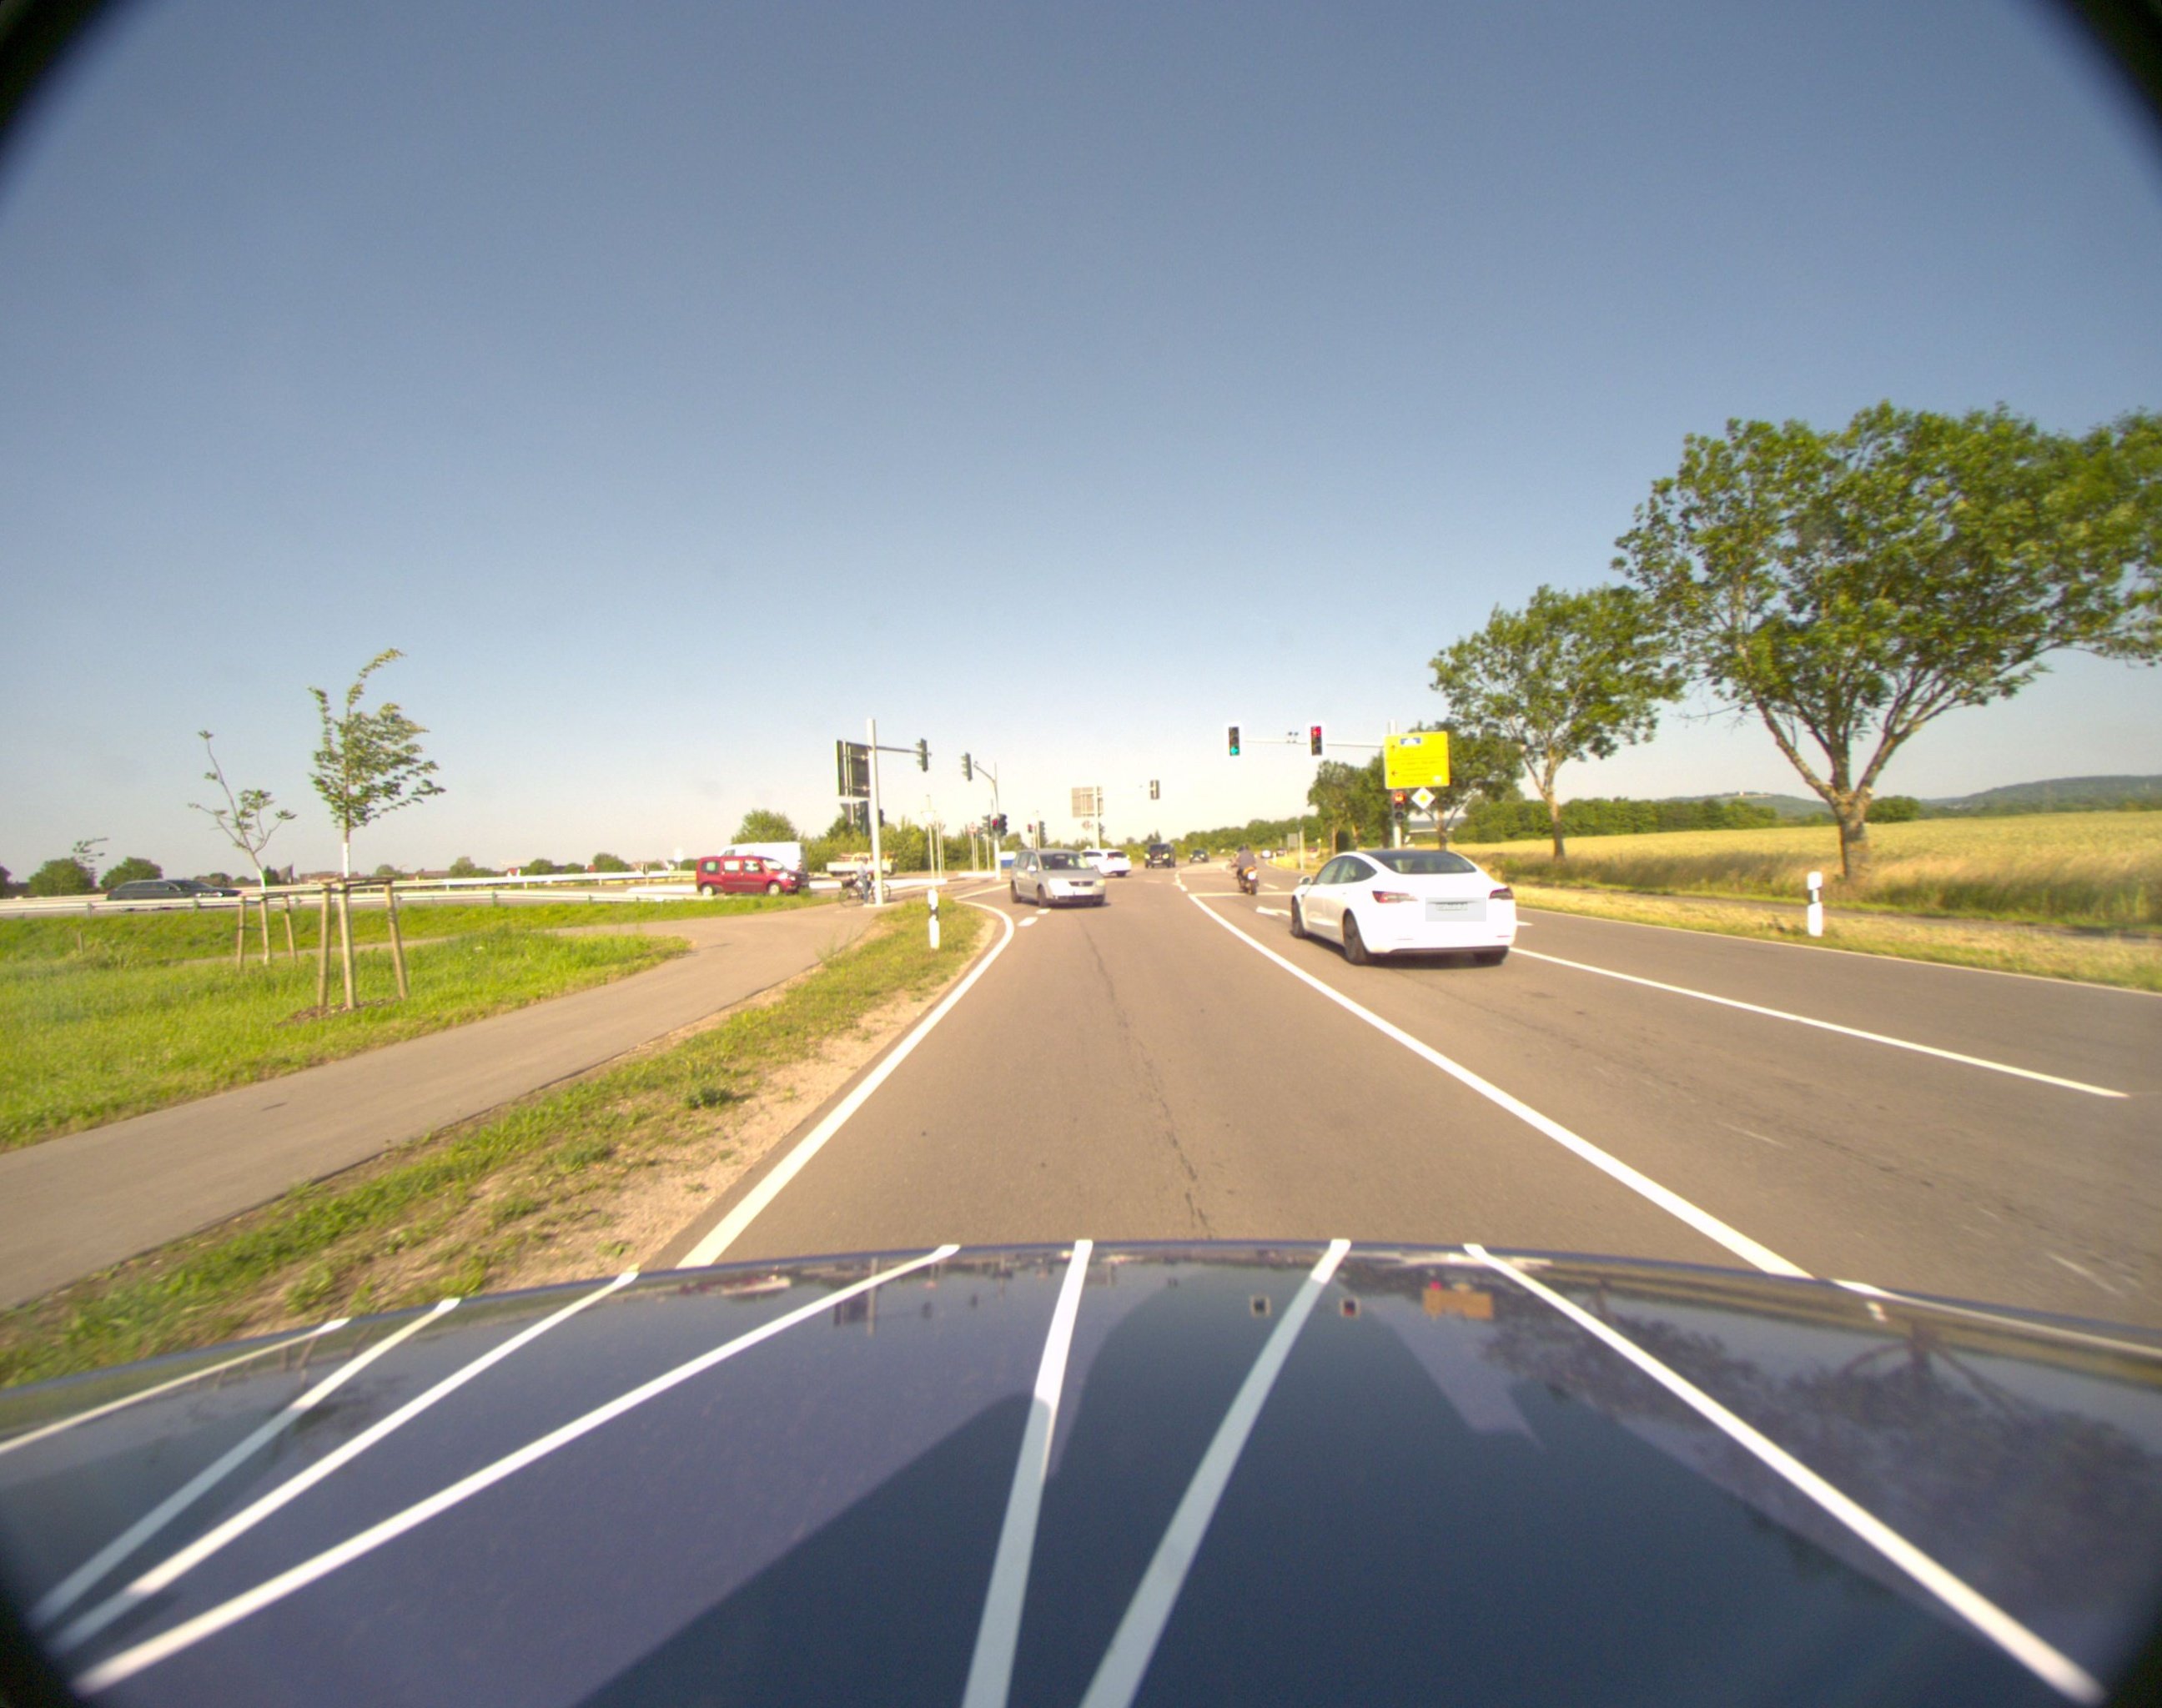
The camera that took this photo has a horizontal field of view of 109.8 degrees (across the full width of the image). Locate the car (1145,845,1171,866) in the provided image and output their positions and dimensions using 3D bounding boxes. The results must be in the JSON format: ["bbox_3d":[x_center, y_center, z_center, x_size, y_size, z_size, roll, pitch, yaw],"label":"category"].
[{"bbox_3d":[6.227,0.109,61.193,1.860,1.533,4.002,-2,0,8],"label":"car"}]

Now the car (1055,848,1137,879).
[{"bbox_3d":[0.739,0.489,40.636,1.768,1.483,4.695,-2,1,-38],"label":"car"}]

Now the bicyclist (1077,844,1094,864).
[{"bbox_3d":[0.315,0.014,52.339,1.072,1.344,0.859,-1,2,8],"label":"bicyclist"}]

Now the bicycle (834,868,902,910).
[{"bbox_3d":[-7.041,1.141,25.182,1.948,1.145,0.679,-7,5,-39],"label":"bicycle"}]

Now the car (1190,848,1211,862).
[{"bbox_3d":[13.563,0.127,86.269,1.859,1.533,4.004,-1,0,16],"label":"car"}]

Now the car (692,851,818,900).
[{"bbox_3d":[-13.899,0.913,32.494,4.692,1.826,1.694,-2,1,9],"label":"car"}]

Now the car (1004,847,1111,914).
[{"bbox_3d":[-0.789,0.686,21.792,1.758,1.685,4.207,-2,0,-21],"label":"car"}]

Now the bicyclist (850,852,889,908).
[{"bbox_3d":[-7.011,0.843,25.213,0.919,1.756,0.618,-7,5,-39],"label":"bicyclist"}]

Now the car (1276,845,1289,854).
[{"bbox_3d":[36.920,-0.889,139.145,1.886,1.616,4.006,0,1,21],"label":"car"}]

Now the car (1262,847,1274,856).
[{"bbox_3d":[29.054,-0.463,118.255,1.631,1.369,4.426,0,1,12],"label":"car"}]

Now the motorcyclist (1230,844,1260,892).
[{"bbox_3d":[5.239,0.437,24.373,0.680,1.506,1.181,-2,1,1],"label":"motorcyclist"}]

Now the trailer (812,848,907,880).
[{"bbox_3d":[-13.051,0.588,44.962,5.009,1.728,1.980,-1,1,-2],"label":"trailer"}]

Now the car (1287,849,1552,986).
[{"bbox_3d":[4.302,0.692,10.510,1.894,1.458,4.276,-2,0,3],"label":"car"}]

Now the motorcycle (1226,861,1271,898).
[{"bbox_3d":[5.283,0.787,24.166,0.899,1.037,2.428,-2,0,1],"label":"motorcycle"}]

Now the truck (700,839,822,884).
[{"bbox_3d":[-18.644,0.394,44.508,6.197,2.391,2.070,-1,1,-7],"label":"truck"}]
